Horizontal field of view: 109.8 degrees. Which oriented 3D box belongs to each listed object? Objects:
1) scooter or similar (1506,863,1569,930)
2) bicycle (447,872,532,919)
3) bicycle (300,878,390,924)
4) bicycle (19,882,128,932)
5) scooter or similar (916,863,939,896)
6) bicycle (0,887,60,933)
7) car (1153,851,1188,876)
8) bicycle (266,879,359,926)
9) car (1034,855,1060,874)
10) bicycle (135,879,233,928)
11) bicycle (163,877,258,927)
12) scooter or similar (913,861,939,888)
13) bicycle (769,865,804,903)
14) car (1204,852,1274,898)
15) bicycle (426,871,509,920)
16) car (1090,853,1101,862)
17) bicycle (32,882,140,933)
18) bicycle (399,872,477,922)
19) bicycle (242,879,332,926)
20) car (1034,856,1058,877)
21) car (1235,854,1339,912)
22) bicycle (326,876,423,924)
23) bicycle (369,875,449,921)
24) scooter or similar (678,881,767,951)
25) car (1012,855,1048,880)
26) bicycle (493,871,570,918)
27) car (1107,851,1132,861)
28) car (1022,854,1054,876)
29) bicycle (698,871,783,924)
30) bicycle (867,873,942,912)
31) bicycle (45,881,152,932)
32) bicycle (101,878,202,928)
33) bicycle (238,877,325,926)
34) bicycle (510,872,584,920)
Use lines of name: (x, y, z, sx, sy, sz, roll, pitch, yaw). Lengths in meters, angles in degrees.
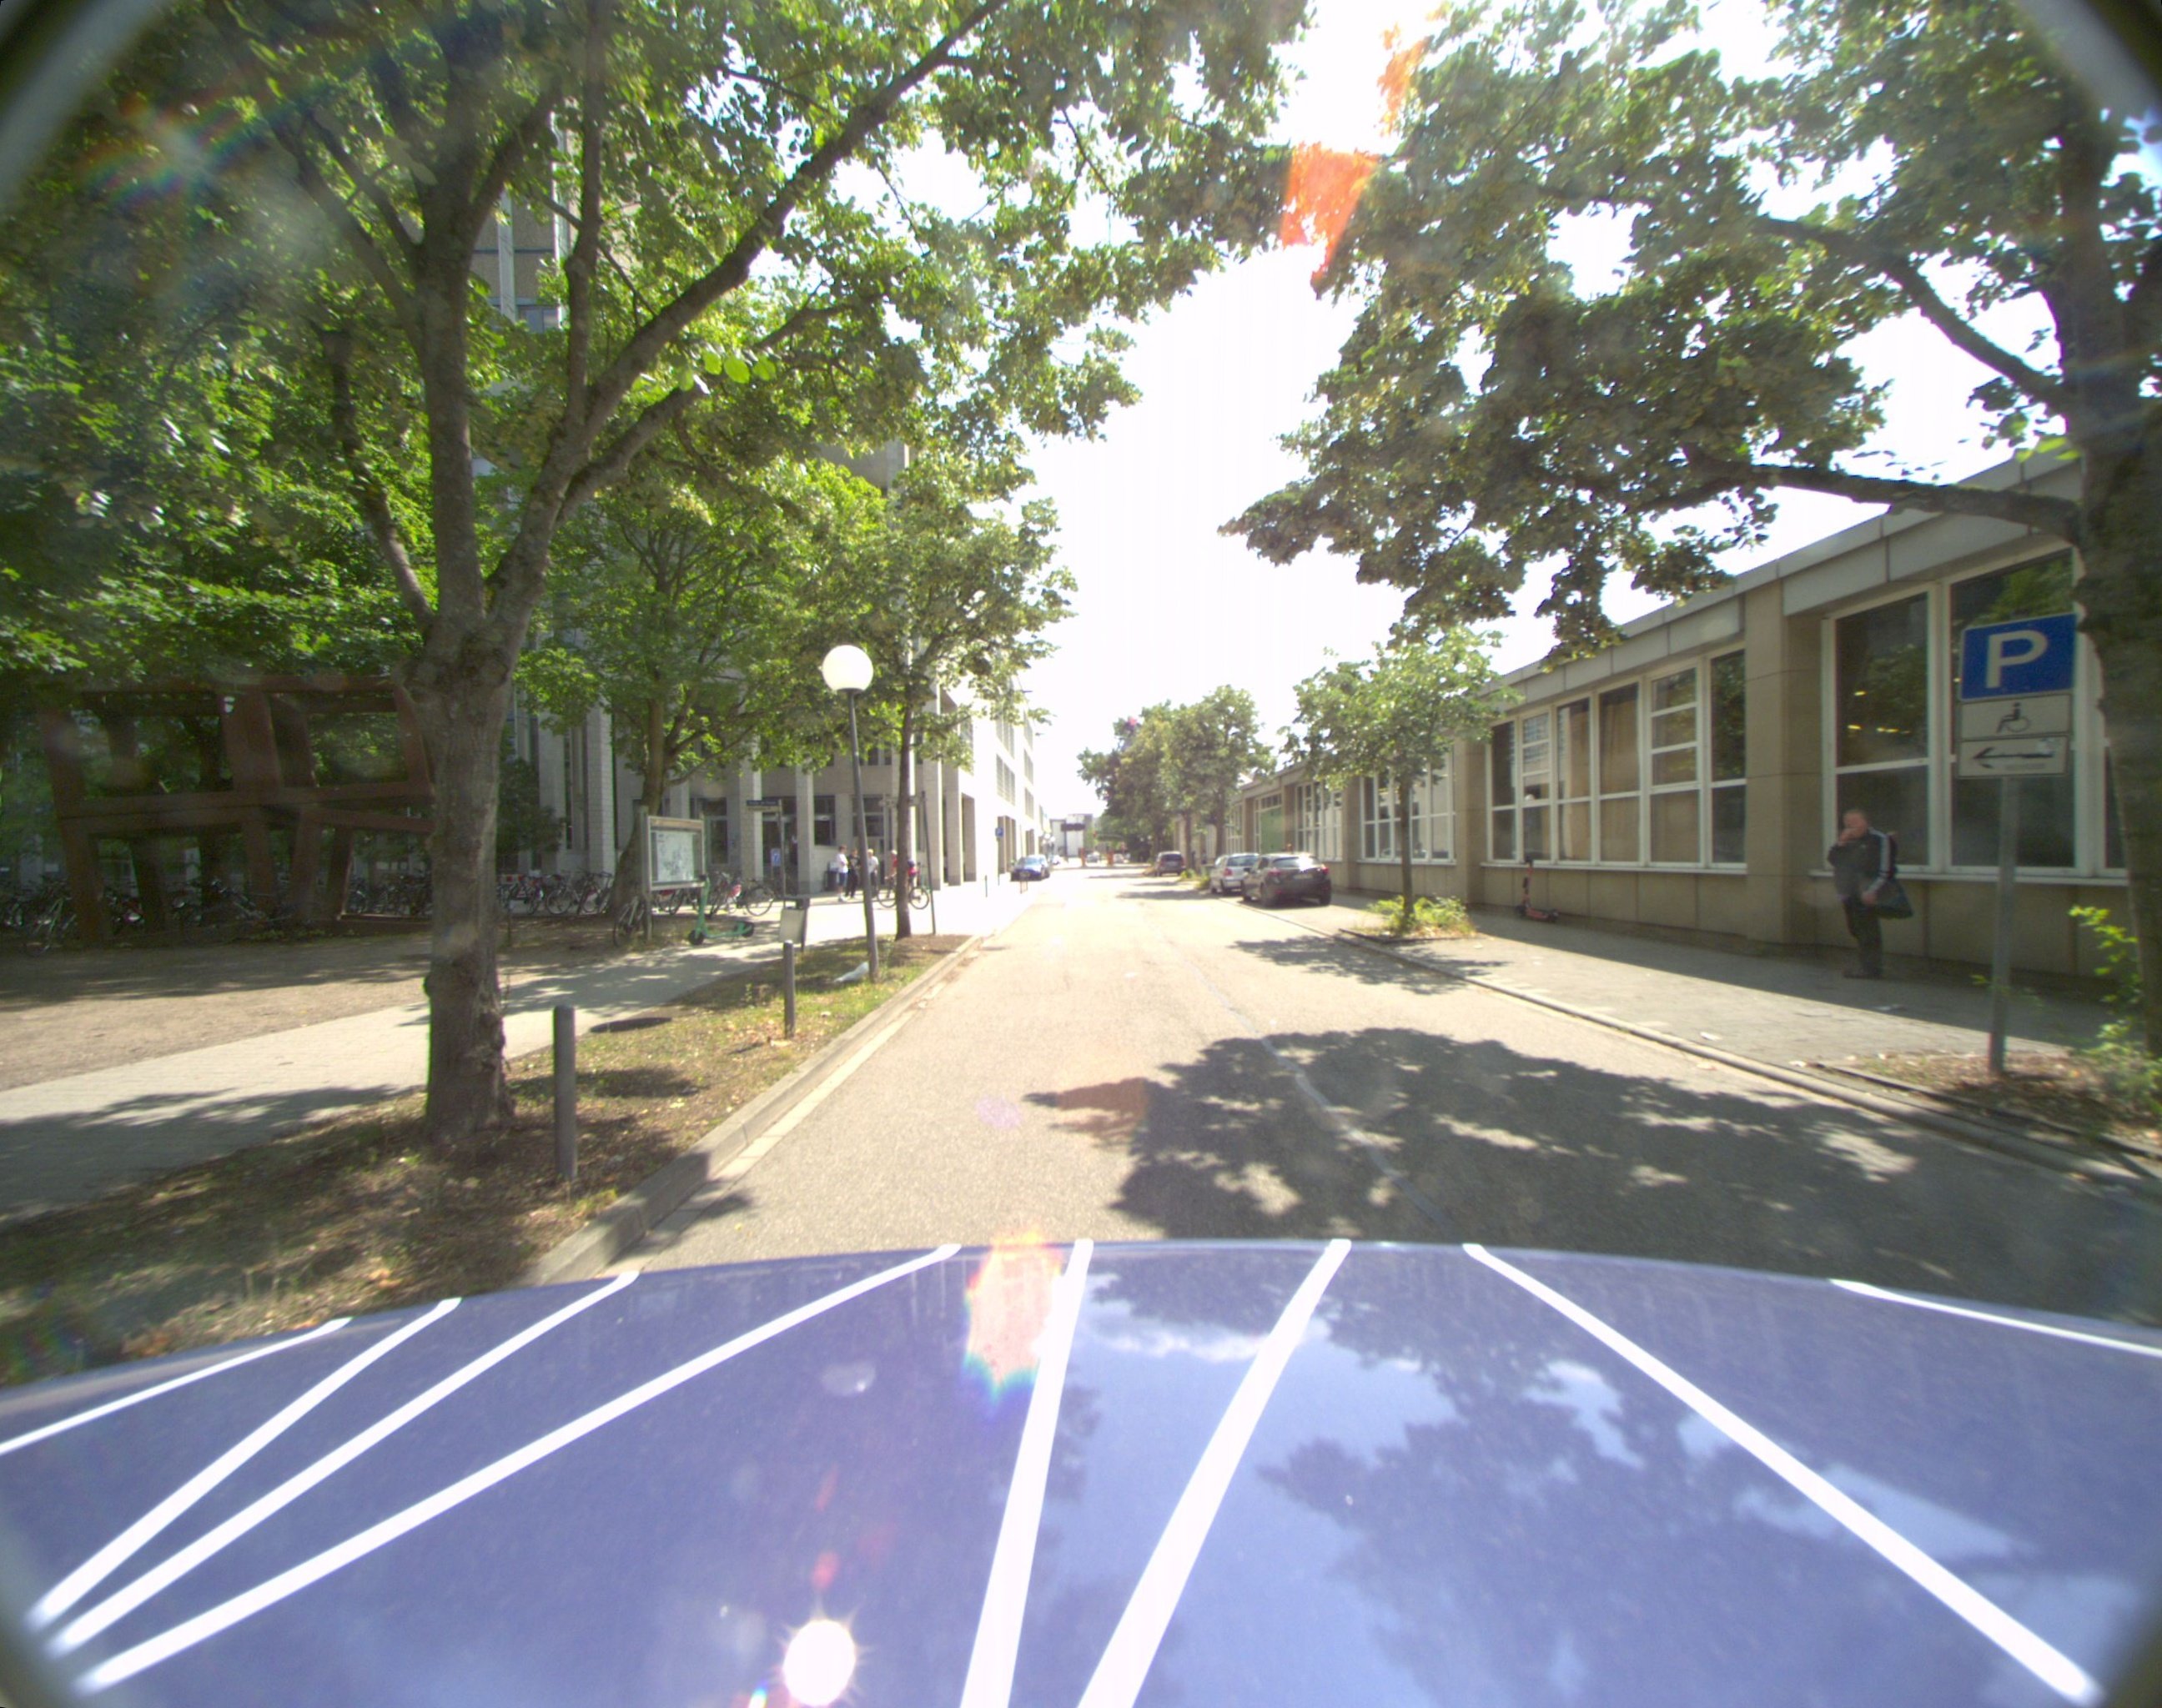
scooter or similar: (8.637, 0.778, 14.419, 0.383, 1.200, 1.246, -3, 0, -1)
bicycle: (-14.540, 0.997, 18.739, 0.627, 1.118, 1.697, 1, -1, 6)
bicycle: (-18.139, 1.130, 18.767, 0.617, 1.041, 1.688, -3, -1, -5)
bicycle: (-24.854, 1.291, 18.782, 0.478, 1.123, 1.688, -3, -1, -5)
scooter or similar: (-5.857, 0.957, 28.968, 0.564, 1.205, 1.510, 1, 1, -1)
bicycle: (-26.543, 1.393, 18.740, 0.478, 1.077, 1.688, -3, -1, -4)
car: (5.814, 0.607, 49.695, 1.803, 1.440, 3.676, -4, 0, 0)
bicycle: (-18.857, 1.158, 18.690, 0.617, 1.041, 1.688, -3, -1, -5)
car: (-2.689, 0.846, 60.615, 1.843, 1.390, 3.878, 1, -1, 1)
bicycle: (-22.117, 1.199, 18.782, 0.454, 1.123, 1.688, -3, -1, -5)
bicycle: (-21.534, 1.165, 18.832, 0.454, 1.123, 1.688, -3, -1, -5)
scooter or similar: (-7.510, 0.979, 36.722, 0.566, 1.205, 1.506, -3, 3, -40)
bicycle: (-10.389, 1.025, 26.852, 0.531, 1.235, 1.829, -1, 1, 0)
car: (5.640, 0.700, 27.523, 1.634, 1.440, 3.752, -4, 0, 0)
bicycle: (-15.249, 1.003, 18.930, 0.627, 1.143, 1.697, 1, -1, 2)
car: (2.650, 0.687, 139.228, 1.803, 1.440, 3.676, -4, 0, 0)
bicycle: (-24.317, 1.287, 18.618, 0.454, 1.123, 1.688, -3, -1, -5)
bicycle: (-15.930, 1.030, 18.879, 0.628, 1.143, 1.695, -3, -1, -8)
bicycle: (-19.438, 1.173, 18.650, 0.501, 1.041, 1.688, -3, -1, -5)
car: (-2.953, 1.084, 65.609, 1.799, 1.691, 4.000, 2, 0, 1)
car: (5.785, 0.773, 21.856, 1.729, 1.427, 4.289, -3, 0, 0)
bicycle: (-17.402, 1.114, 18.777, 0.617, 1.041, 1.697, -3, -1, 8)
bicycle: (-16.592, 1.070, 18.812, 0.568, 1.041, 1.695, -3, -1, -7)
scooter or similar: (-6.102, 1.035, 12.992, 0.496, 1.107, 1.365, 0, -1, 25)
car: (-2.994, 0.783, 45.260, 1.843, 1.390, 3.878, 1, -1, 1)
bicycle: (-13.700, 0.988, 18.995, 0.565, 1.118, 1.697, 1, -1, 6)
car: (6.085, 0.291, 119.587, 3.674, 1.441, 1.804, -4, 1, -1)
car: (-2.848, 0.762, 50.737, 1.843, 1.390, 3.878, 1, -1, 1)
bicycle: (-8.034, 1.011, 18.003, 0.604, 1.135, 1.790, 2, 1, 33)
bicycle: (-5.175, 1.113, 22.325, 1.927, 1.036, 0.819, 0, 4, 16)
bicycle: (-23.801, 1.248, 18.457, 0.454, 1.123, 1.688, -3, -1, -5)
bicycle: (-22.687, 1.179, 18.594, 0.454, 1.123, 1.688, -3, -1, -5)
bicycle: (-20.037, 1.165, 19.094, 0.454, 1.123, 1.688, -3, -1, -5)
bicycle: (-13.196, 1.013, 18.831, 0.481, 1.118, 1.697, 1, -1, 6)
